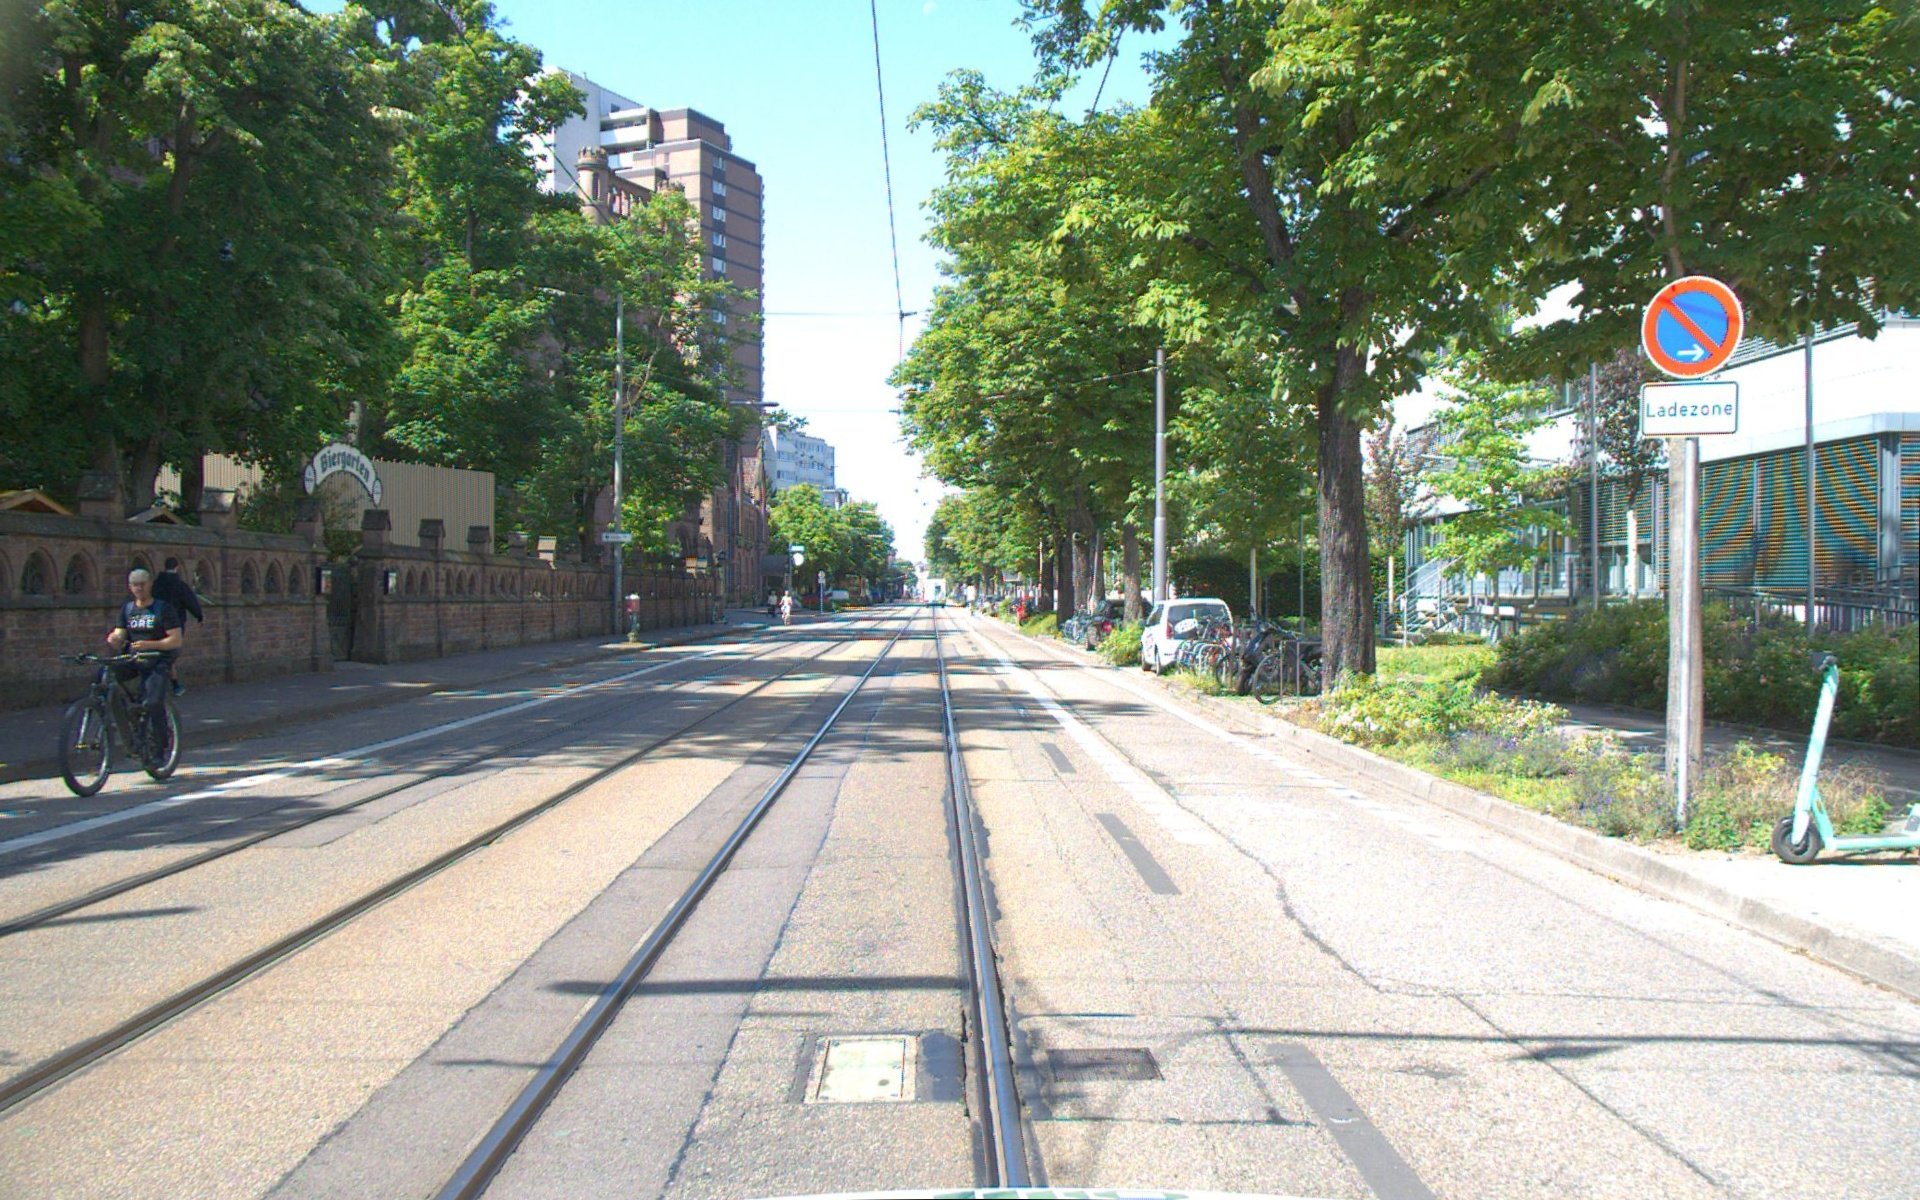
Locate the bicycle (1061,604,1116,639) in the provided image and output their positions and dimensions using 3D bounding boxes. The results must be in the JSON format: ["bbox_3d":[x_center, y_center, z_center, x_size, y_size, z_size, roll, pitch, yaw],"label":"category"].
[{"bbox_3d":[4.063,0.680,52.389,1.689,1.105,0.570,0,0,-2],"label":"bicycle"}]

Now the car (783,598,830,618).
[{"bbox_3d":[-14.065,0.732,151.452,3.960,1.842,1.864,0,0,-39],"label":"car"}]

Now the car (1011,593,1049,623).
[{"bbox_3d":[3.541,0.402,84.439,1.597,1.498,3.717,0,0,-3],"label":"car"}]

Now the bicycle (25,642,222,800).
[{"bbox_3d":[-6.766,0.941,13.503,0.579,1.125,2.054,0,0,-1],"label":"bicycle"}]

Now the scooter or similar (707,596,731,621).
[{"bbox_3d":[-11.130,0.408,76.343,0.327,1.149,1.181,0,0,37],"label":"scooter or similar"}]

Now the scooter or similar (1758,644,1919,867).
[{"bbox_3d":[5.197,0.851,9.288,1.102,1.187,0.676,0,0,1],"label":"scooter or similar"}]

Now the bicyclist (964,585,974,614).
[{"bbox_3d":[0.608,-0.034,111.133,0.623,1.904,1.024,0,0,-2],"label":"bicyclist"}]

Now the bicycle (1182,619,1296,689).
[{"bbox_3d":[4.744,0.919,28.176,1.811,1.152,0.680,0,0,-2],"label":"bicycle"}]

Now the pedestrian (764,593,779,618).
[{"bbox_3d":[-11.570,0.330,101.625,0.867,1.538,1.472,0,0,-10],"label":"pedestrian"}]

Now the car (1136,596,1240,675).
[{"bbox_3d":[4.532,0.688,33.254,1.596,1.498,3.630,0,0,0],"label":"car"}]

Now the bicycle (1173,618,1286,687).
[{"bbox_3d":[4.689,0.903,28.852,1.835,1.161,0.686,0,0,-2],"label":"bicycle"}]

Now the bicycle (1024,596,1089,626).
[{"bbox_3d":[4.392,0.507,75.353,2.965,1.355,1.041,0,0,2],"label":"bicycle"}]

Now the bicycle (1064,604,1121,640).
[{"bbox_3d":[4.101,0.684,51.089,1.689,1.105,0.628,0,0,-2],"label":"bicycle"}]

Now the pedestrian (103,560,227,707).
[{"bbox_3d":[-10.546,0.431,21.990,0.956,1.847,1.184,3,0,-1],"label":"pedestrian"}]

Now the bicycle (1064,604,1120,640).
[{"bbox_3d":[4.117,0.680,51.747,1.689,1.105,0.696,0,0,-2],"label":"bicycle"}]

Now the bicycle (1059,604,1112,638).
[{"bbox_3d":[4.130,0.691,54.595,1.689,1.105,0.478,0,0,-2],"label":"bicycle"}]

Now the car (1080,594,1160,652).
[{"bbox_3d":[4.343,0.596,45.489,1.597,1.509,4.271,0,0,-3],"label":"car"}]

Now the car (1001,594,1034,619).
[{"bbox_3d":[3.263,0.357,94.291,1.597,1.378,3.899,0,0,-3],"label":"car"}]

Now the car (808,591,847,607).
[{"bbox_3d":[-14.776,-0.082,184.496,3.948,1.780,1.979,0,0,-32],"label":"car"}]

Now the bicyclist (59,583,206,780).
[{"bbox_3d":[-6.759,0.643,13.555,0.725,1.557,0.947,0,0,-1],"label":"bicyclist"}]

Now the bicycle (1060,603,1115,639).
[{"bbox_3d":[4.077,0.668,52.979,1.689,1.105,0.589,0,0,-2],"label":"bicycle"}]

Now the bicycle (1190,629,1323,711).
[{"bbox_3d":[4.131,0.968,23.124,1.689,1.105,0.789,0,0,-2],"label":"bicycle"}]

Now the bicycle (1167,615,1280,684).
[{"bbox_3d":[4.682,0.881,29.499,1.865,1.190,0.819,0,0,-2],"label":"bicycle"}]

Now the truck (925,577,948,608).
[{"bbox_3d":[-2.523,-0.804,175.231,2.354,3.163,6.035,0,0,-1],"label":"truck"}]

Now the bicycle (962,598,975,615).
[{"bbox_3d":[0.565,0.437,111.029,0.838,1.129,2.139,0,0,-2],"label":"bicycle"}]

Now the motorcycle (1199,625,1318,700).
[{"bbox_3d":[4.570,0.946,25.353,1.689,1.105,0.658,0,0,-2],"label":"motorcycle"}]

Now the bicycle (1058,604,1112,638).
[{"bbox_3d":[4.071,0.688,54.016,1.689,1.105,0.614,0,0,-2],"label":"bicycle"}]

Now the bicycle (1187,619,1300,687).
[{"bbox_3d":[4.732,0.880,27.646,1.756,1.105,0.726,0,0,-2],"label":"bicycle"}]

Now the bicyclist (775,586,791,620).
[{"bbox_3d":[-8.999,0.157,83.939,0.710,1.728,1.146,0,0,-2],"label":"bicyclist"}]

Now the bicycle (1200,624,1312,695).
[{"bbox_3d":[4.784,0.954,26.761,1.689,1.105,0.639,0,0,-2],"label":"bicycle"}]

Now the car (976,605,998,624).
[{"bbox_3d":[2.157,1.183,133.838,1.597,1.498,4.113,0,0,-1],"label":"car"}]

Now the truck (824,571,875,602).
[{"bbox_3d":[-14.183,-1.703,213.326,2.755,3.927,10.001,0,0,20],"label":"truck"}]

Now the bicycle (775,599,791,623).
[{"bbox_3d":[-8.989,0.550,84.001,0.649,1.174,2.014,0,0,-1],"label":"bicycle"}]

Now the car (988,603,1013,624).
[{"bbox_3d":[2.813,0.928,115.963,1.597,1.498,4.113,0,0,-1],"label":"car"}]
